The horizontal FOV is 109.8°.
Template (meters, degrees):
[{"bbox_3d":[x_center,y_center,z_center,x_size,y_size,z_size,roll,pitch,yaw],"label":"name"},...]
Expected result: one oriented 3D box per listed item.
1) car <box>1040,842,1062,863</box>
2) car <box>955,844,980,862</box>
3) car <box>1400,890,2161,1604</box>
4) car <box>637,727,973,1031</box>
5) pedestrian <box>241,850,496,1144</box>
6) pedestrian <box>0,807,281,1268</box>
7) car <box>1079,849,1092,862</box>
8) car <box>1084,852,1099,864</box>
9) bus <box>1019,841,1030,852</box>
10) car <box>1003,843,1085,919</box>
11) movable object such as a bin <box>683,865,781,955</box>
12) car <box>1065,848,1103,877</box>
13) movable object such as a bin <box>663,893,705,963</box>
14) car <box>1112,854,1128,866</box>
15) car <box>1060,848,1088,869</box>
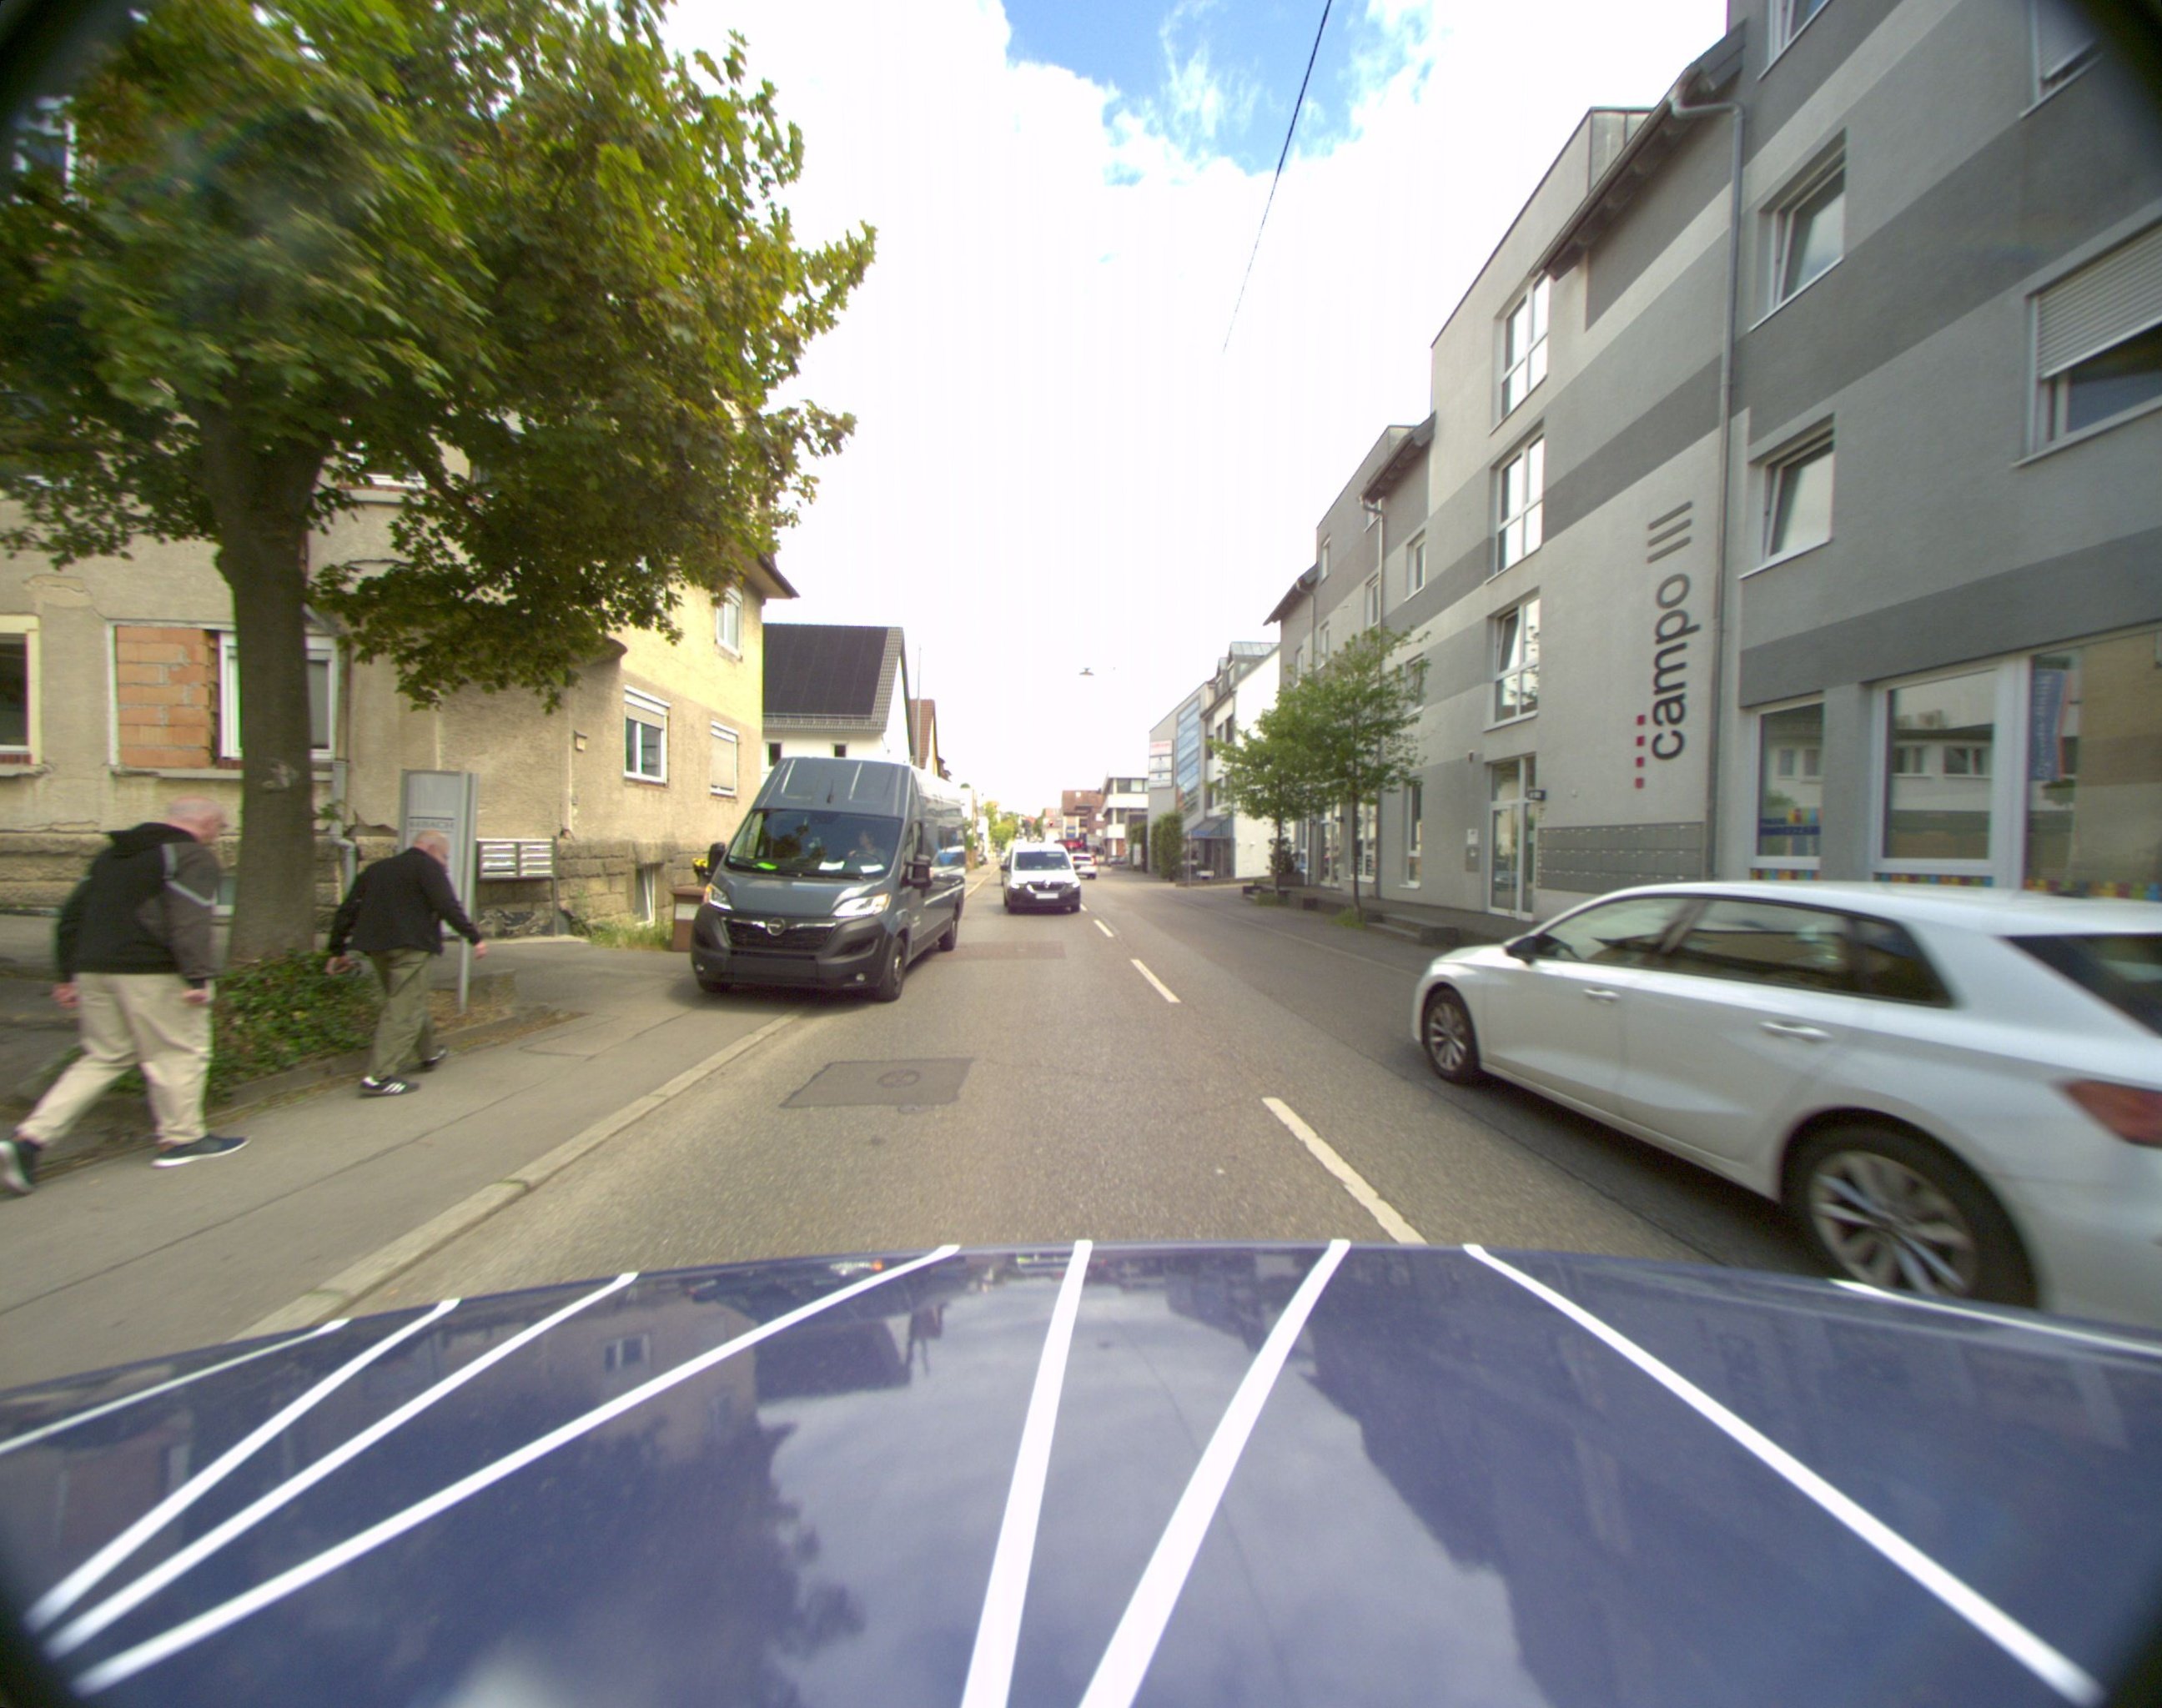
[{"bbox_3d":[-3.296,-0.186,83.027,2.117,2.139,4.880,2,0,-6],"label":"car"},{"bbox_3d":[-10.571,-0.080,71.030,1.999,1.610,4.098,1,0,-5],"label":"car"},{"bbox_3d":[3.326,0.985,3.464,1.879,1.416,4.114,0,0,-2],"label":"car"},{"bbox_3d":[-2.941,0.208,10.020,2.153,2.754,6.248,0,1,0],"label":"car"},{"bbox_3d":[-4.279,0.796,4.634,0.787,1.633,0.798,0,1,3],"label":"pedestrian"},{"bbox_3d":[-4.390,0.702,3.352,0.742,1.772,0.899,0,1,-1],"label":"pedestrian"},{"bbox_3d":[0.655,0.205,108.930,1.702,1.766,4.461,0,1,3],"label":"car"},{"bbox_3d":[1.353,0.492,97.142,1.840,1.419,4.217,0,1,-1],"label":"car"},{"bbox_3d":[-16.961,-2.347,226.689,3.135,3.239,9.744,0,1,-5],"label":"bus"},{"bbox_3d":[-1.121,0.630,20.693,1.872,1.805,5.003,0,0,-7],"label":"car"},{"bbox_3d":[-5.359,0.809,11.636,1.188,1.258,1.206,0,1,-34],"label":"movable object such as a bin"},{"bbox_3d":[0.124,0.467,46.096,1.903,1.550,4.798,3,0,-4],"label":"car"},{"bbox_3d":[-5.489,1.019,10.505,0.410,0.933,0.273,4,1,-14],"label":"movable object such as a bin"},{"bbox_3d":[4.563,0.703,88.425,1.824,1.321,4.236,0,1,3],"label":"car"},{"bbox_3d":[-0.581,0.342,60.691,1.837,1.575,4.035,2,0,-5],"label":"car"}]
